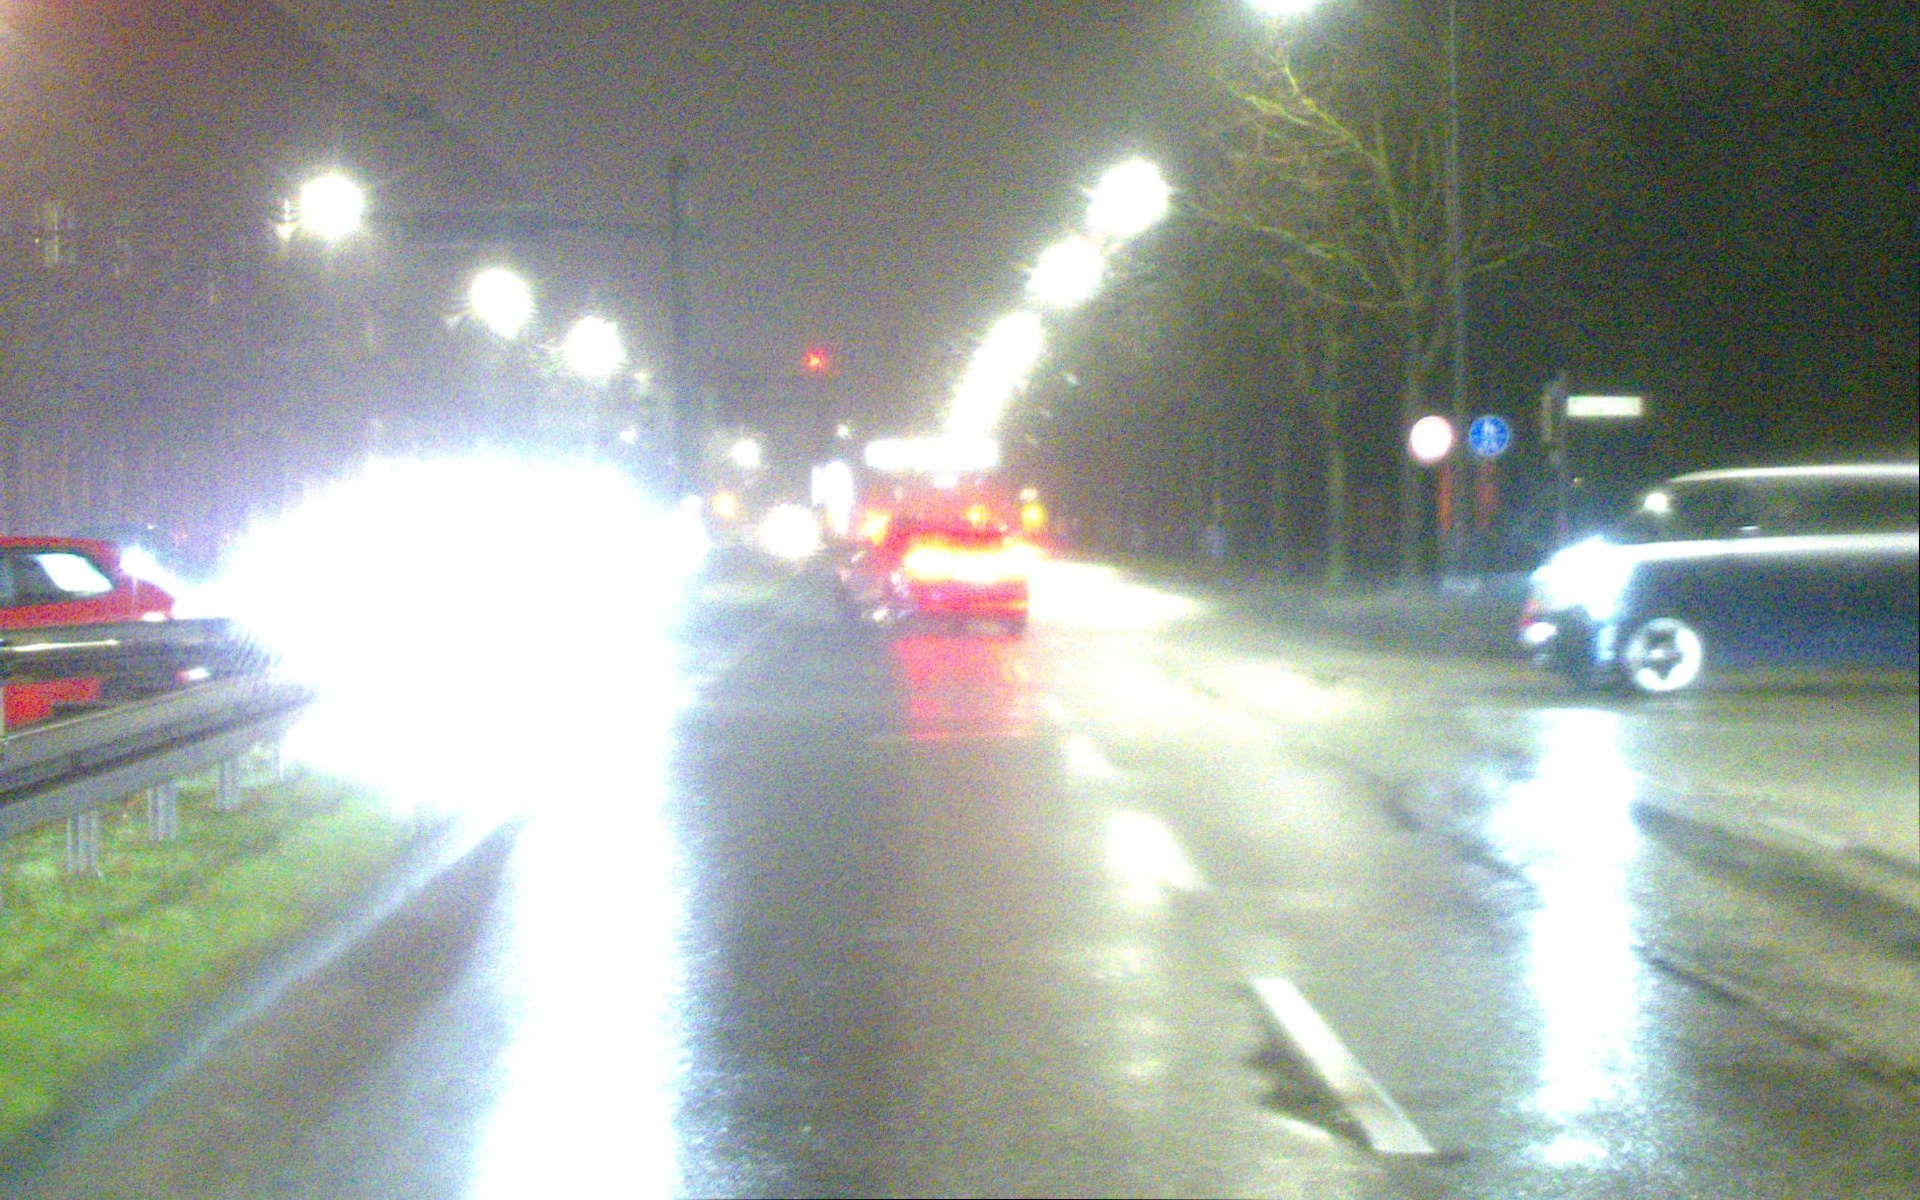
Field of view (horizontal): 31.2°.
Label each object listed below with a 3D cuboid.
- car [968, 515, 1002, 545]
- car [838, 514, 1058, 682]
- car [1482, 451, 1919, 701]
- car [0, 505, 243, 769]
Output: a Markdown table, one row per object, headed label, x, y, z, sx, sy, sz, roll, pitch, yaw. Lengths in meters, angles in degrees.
| label | x | y | z | sx | sy | sz | roll | pitch | yaw |
| --- | --- | --- | --- | --- | --- | --- | --- | --- | --- |
| car | 1.515 | -4.239 | 208.362 | 1.993 | 1.753 | 4.000 | 1 | 1 | -1 |
| car | -0.237 | -0.056 | 46.758 | 2.134 | 2.137 | 4.930 | 1 | 1 | -10 |
| car | 7.096 | -0.225 | 28.668 | 5.092 | 1.978 | 2.000 | -1 | 1 | -4 |
| car | -6.870 | 0.279 | 21.865 | 4.071 | 1.582 | 1.911 | -4 | 3 | -45 |
